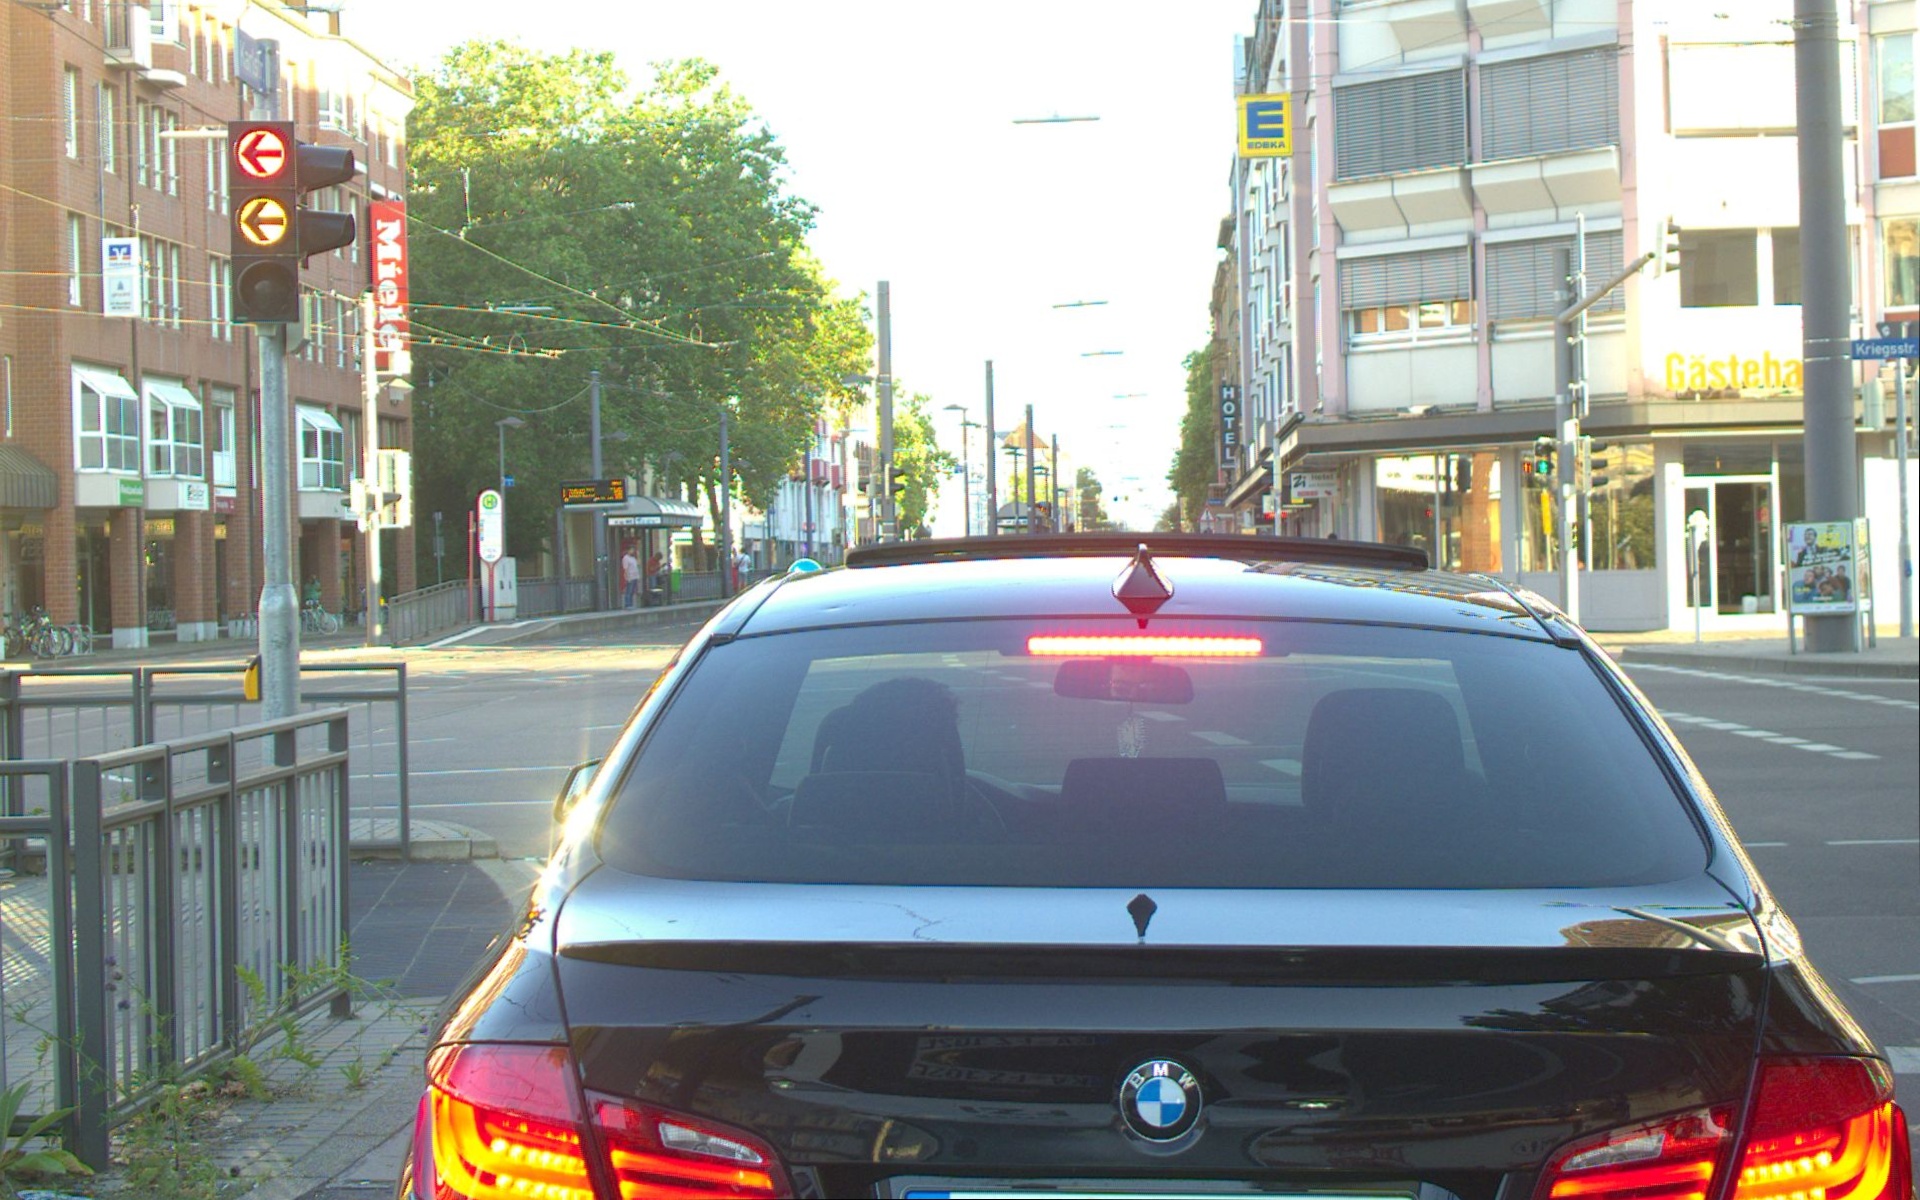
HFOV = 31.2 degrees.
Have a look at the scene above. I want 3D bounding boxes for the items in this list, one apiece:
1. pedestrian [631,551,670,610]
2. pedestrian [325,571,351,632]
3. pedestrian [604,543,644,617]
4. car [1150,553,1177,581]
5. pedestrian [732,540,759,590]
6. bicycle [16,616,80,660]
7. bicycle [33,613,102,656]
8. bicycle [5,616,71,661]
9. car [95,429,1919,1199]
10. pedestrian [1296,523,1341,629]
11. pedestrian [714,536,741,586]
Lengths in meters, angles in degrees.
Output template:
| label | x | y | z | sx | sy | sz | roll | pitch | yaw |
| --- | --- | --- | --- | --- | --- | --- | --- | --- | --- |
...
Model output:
| label | x | y | z | sx | sy | sz | roll | pitch | yaw |
| --- | --- | --- | --- | --- | --- | --- | --- | --- | --- |
| pedestrian | -8.889 | -0.569 | 98.758 | 0.988 | 1.675 | 0.726 | -1 | 1 | 2 |
| pedestrian | -17.132 | 0.040 | 94.668 | 0.486 | 1.675 | 0.655 | -1 | 1 | 7 |
| pedestrian | -9.146 | -0.537 | 93.653 | 0.988 | 2.007 | 0.726 | 0 | 1 | 2 |
| car | 11.440 | -1.871 | 193.370 | 1.473 | 1.509 | 3.096 | -1 | 1 | 2 |
| pedestrian | -7.378 | -1.211 | 118.371 | 0.723 | 1.675 | 0.991 | -1 | 1 | 6 |
| bicycle | -19.227 | 0.796 | 72.519 | 1.285 | 0.919 | 0.349 | 0 | 1 | -12 |
| bicycle | -19.204 | 0.748 | 73.997 | 1.412 | 0.919 | 0.444 | 0 | 1 | -12 |
| bicycle | -19.306 | 0.804 | 71.962 | 1.286 | 0.919 | 0.349 | 0 | 1 | 0 |
| car | 0.179 | 0.609 | 5.136 | 1.993 | 1.579 | 4.000 | 1 | 1 | -1 |
| pedestrian | 6.329 | -0.424 | 60.698 | 0.684 | 1.848 | 0.671 | -1 | 1 | 0 |
| pedestrian | -7.870 | -1.336 | 116.545 | 0.723 | 1.675 | 0.991 | -1 | 1 | 6 |
